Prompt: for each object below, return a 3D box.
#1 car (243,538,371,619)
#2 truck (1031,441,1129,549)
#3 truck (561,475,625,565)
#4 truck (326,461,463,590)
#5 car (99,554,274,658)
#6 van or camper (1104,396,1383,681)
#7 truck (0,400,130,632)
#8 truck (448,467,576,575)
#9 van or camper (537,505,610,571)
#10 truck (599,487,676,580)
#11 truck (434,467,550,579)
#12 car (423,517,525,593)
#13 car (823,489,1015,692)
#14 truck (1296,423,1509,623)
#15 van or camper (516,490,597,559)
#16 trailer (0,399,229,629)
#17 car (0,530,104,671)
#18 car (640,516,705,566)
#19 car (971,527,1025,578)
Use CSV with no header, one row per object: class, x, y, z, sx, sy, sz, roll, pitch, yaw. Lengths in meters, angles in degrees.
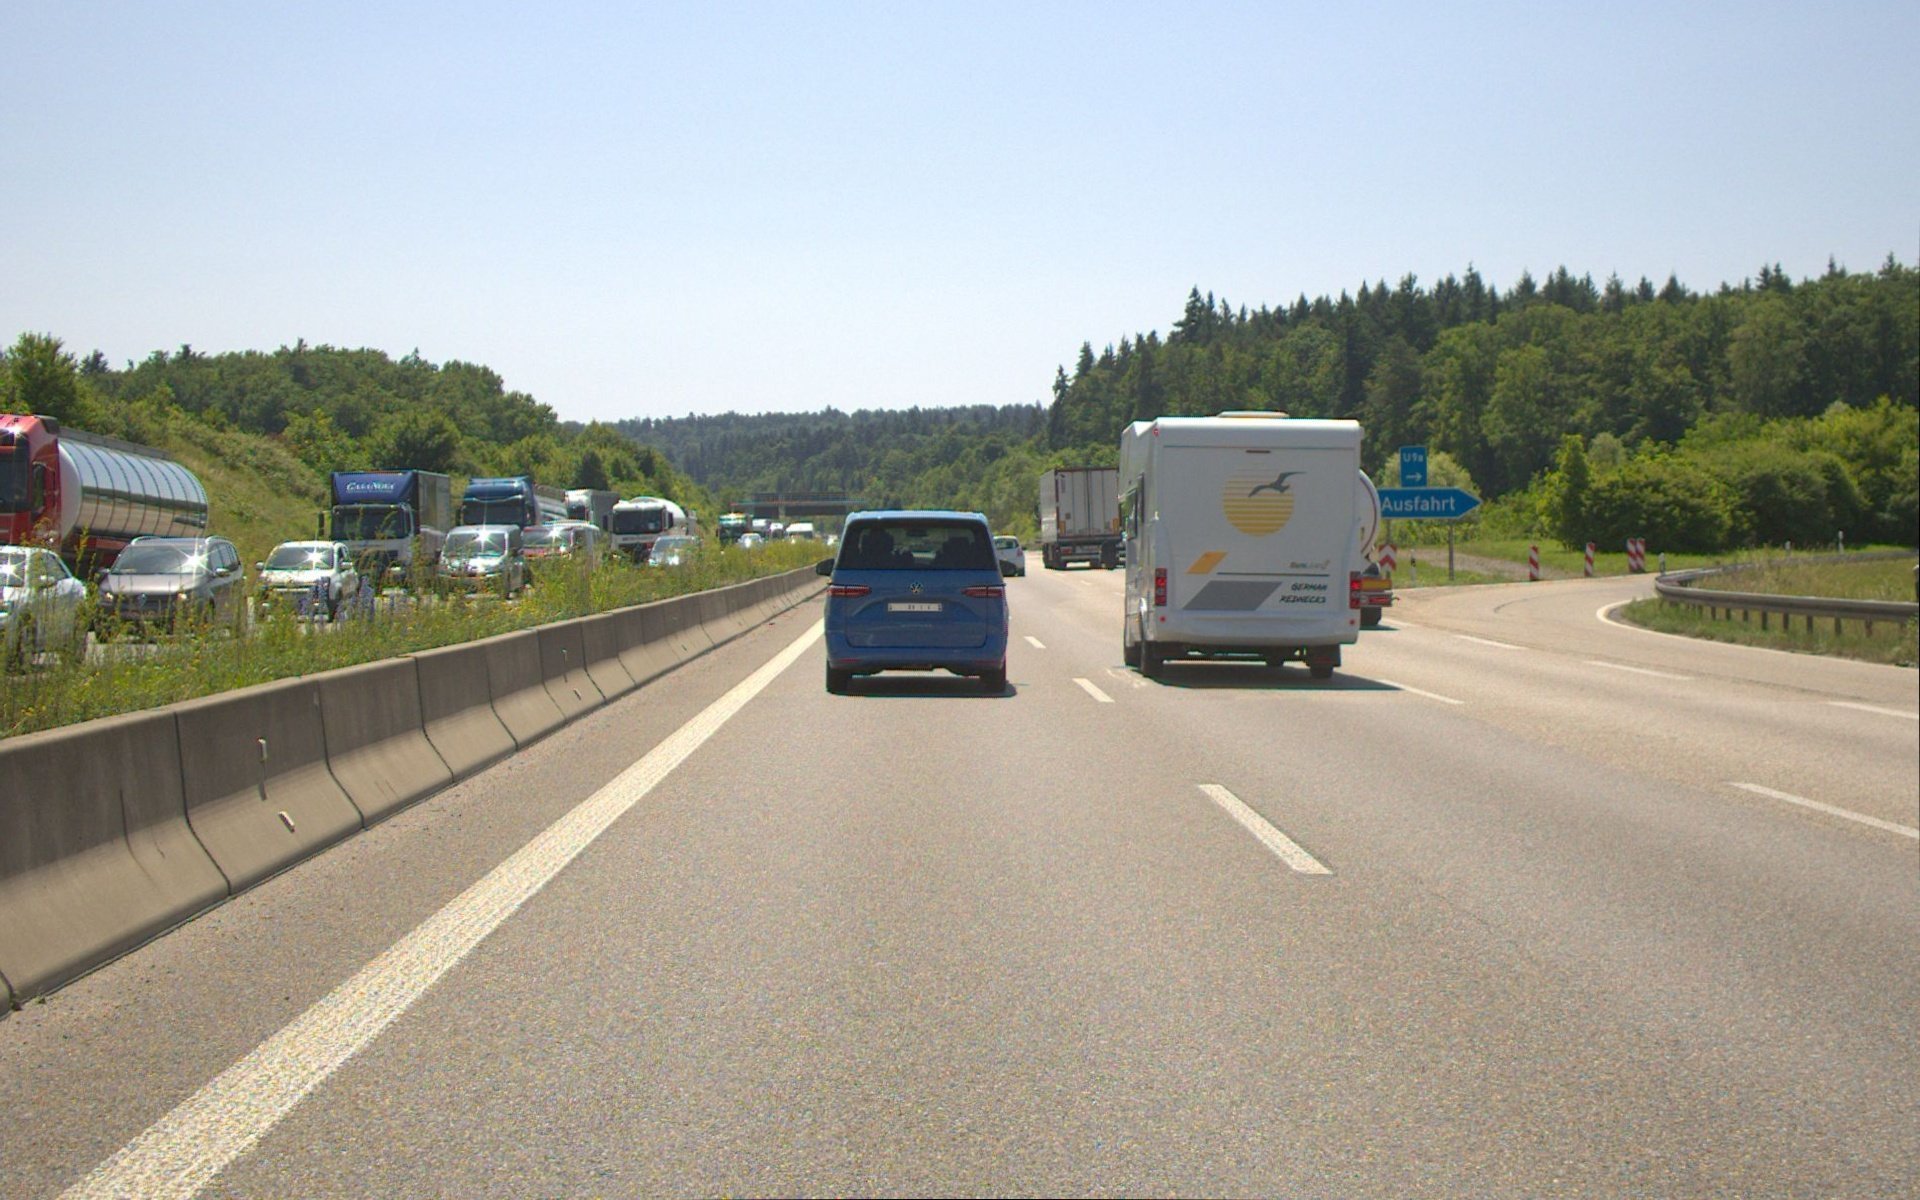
car,-12.830,-0.431,67.729,1.754,1.544,4.189,0,1,-1
truck,4.818,-4.179,139.528,3.487,4.156,8.642,1,1,-1
truck,-17.085,-3.679,160.251,2.088,4.015,7.878,1,1,0
truck,-16.854,-2.186,103.138,2.545,3.662,9.938,0,1,0
car,-12.221,0.057,54.597,1.754,1.578,4.785,0,1,-1
van or camper,3.250,-0.714,41.174,2.603,3.068,7.182,1,1,-1
truck,-16.508,-1.433,59.587,2.783,3.810,6.032,1,1,-1
truck,-17.660,-3.131,136.419,3.578,4.079,12.580,0,1,-1
van or camper,-13.155,-2.108,117.242,1.993,2.145,4.718,-1,1,-1
truck,-13.841,-2.846,148.053,2.618,3.876,7.403,-1,1,-1
truck,-17.526,-2.856,129.136,3.490,4.023,6.644,1,1,-1
car,-12.717,-1.178,90.257,2.023,1.951,5.095,0,1,-1
car,-0.437,-0.160,36.677,1.909,2.006,4.001,1,2,-1
truck,8.394,-1.529,66.206,2.928,3.562,8.527,-1,2,0
van or camper,-13.092,-2.417,111.769,1.993,2.145,5.956,-1,1,-1
trailer,-16.678,-1.602,66.263,2.679,3.936,12.277,-3,1,-1
car,-11.842,-0.014,41.703,1.882,1.622,4.359,0,1,-1
car,-9.309,-1.892,111.621,1.754,1.578,4.854,0,1,-1
car,1.345,-1.720,124.091,1.818,1.788,3.894,1,1,-1
